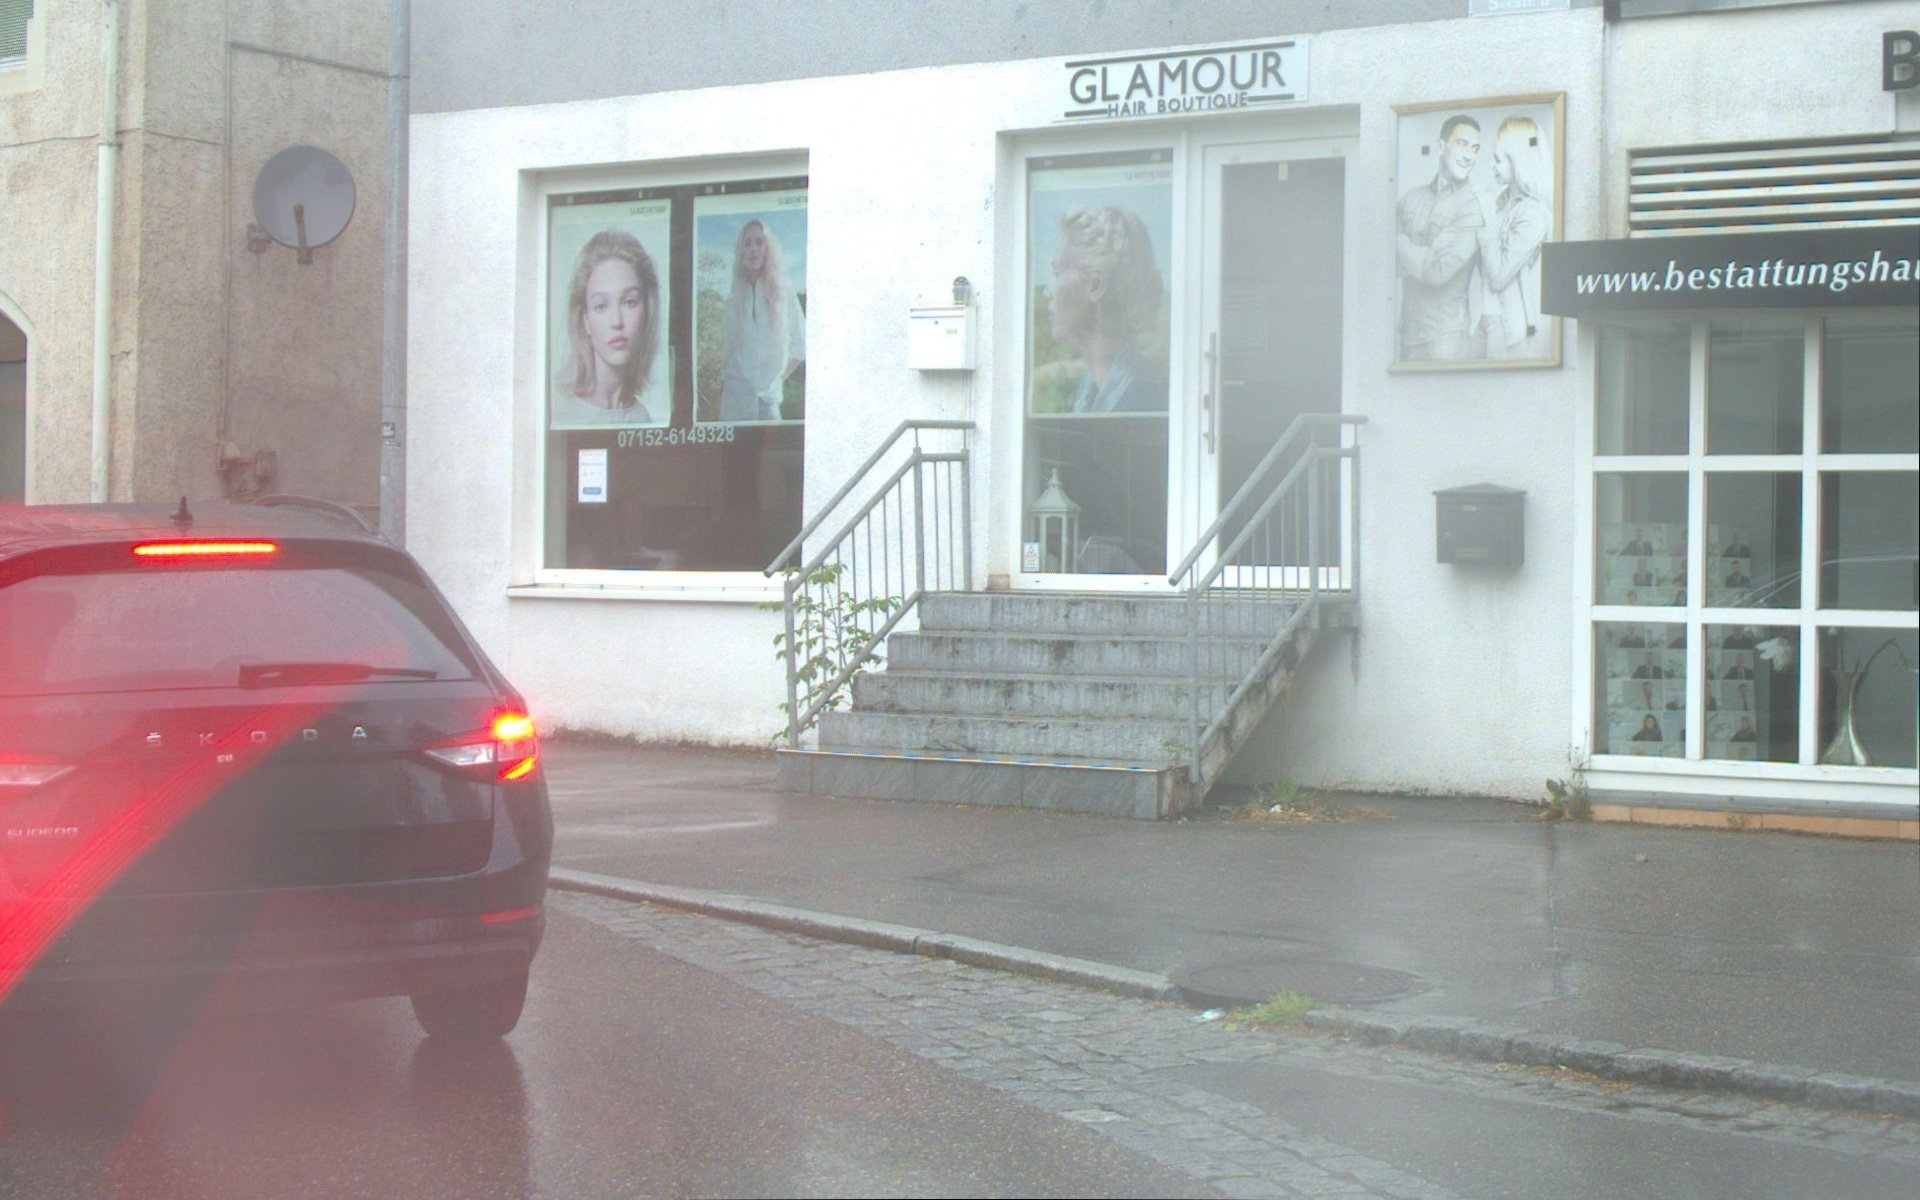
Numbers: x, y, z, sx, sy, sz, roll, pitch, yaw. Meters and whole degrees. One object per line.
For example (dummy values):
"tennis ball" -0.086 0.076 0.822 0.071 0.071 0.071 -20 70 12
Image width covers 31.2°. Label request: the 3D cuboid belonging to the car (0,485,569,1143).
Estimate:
"car" -2.573 0.421 9.984 1.732 1.445 4.243 -1 3 -23
